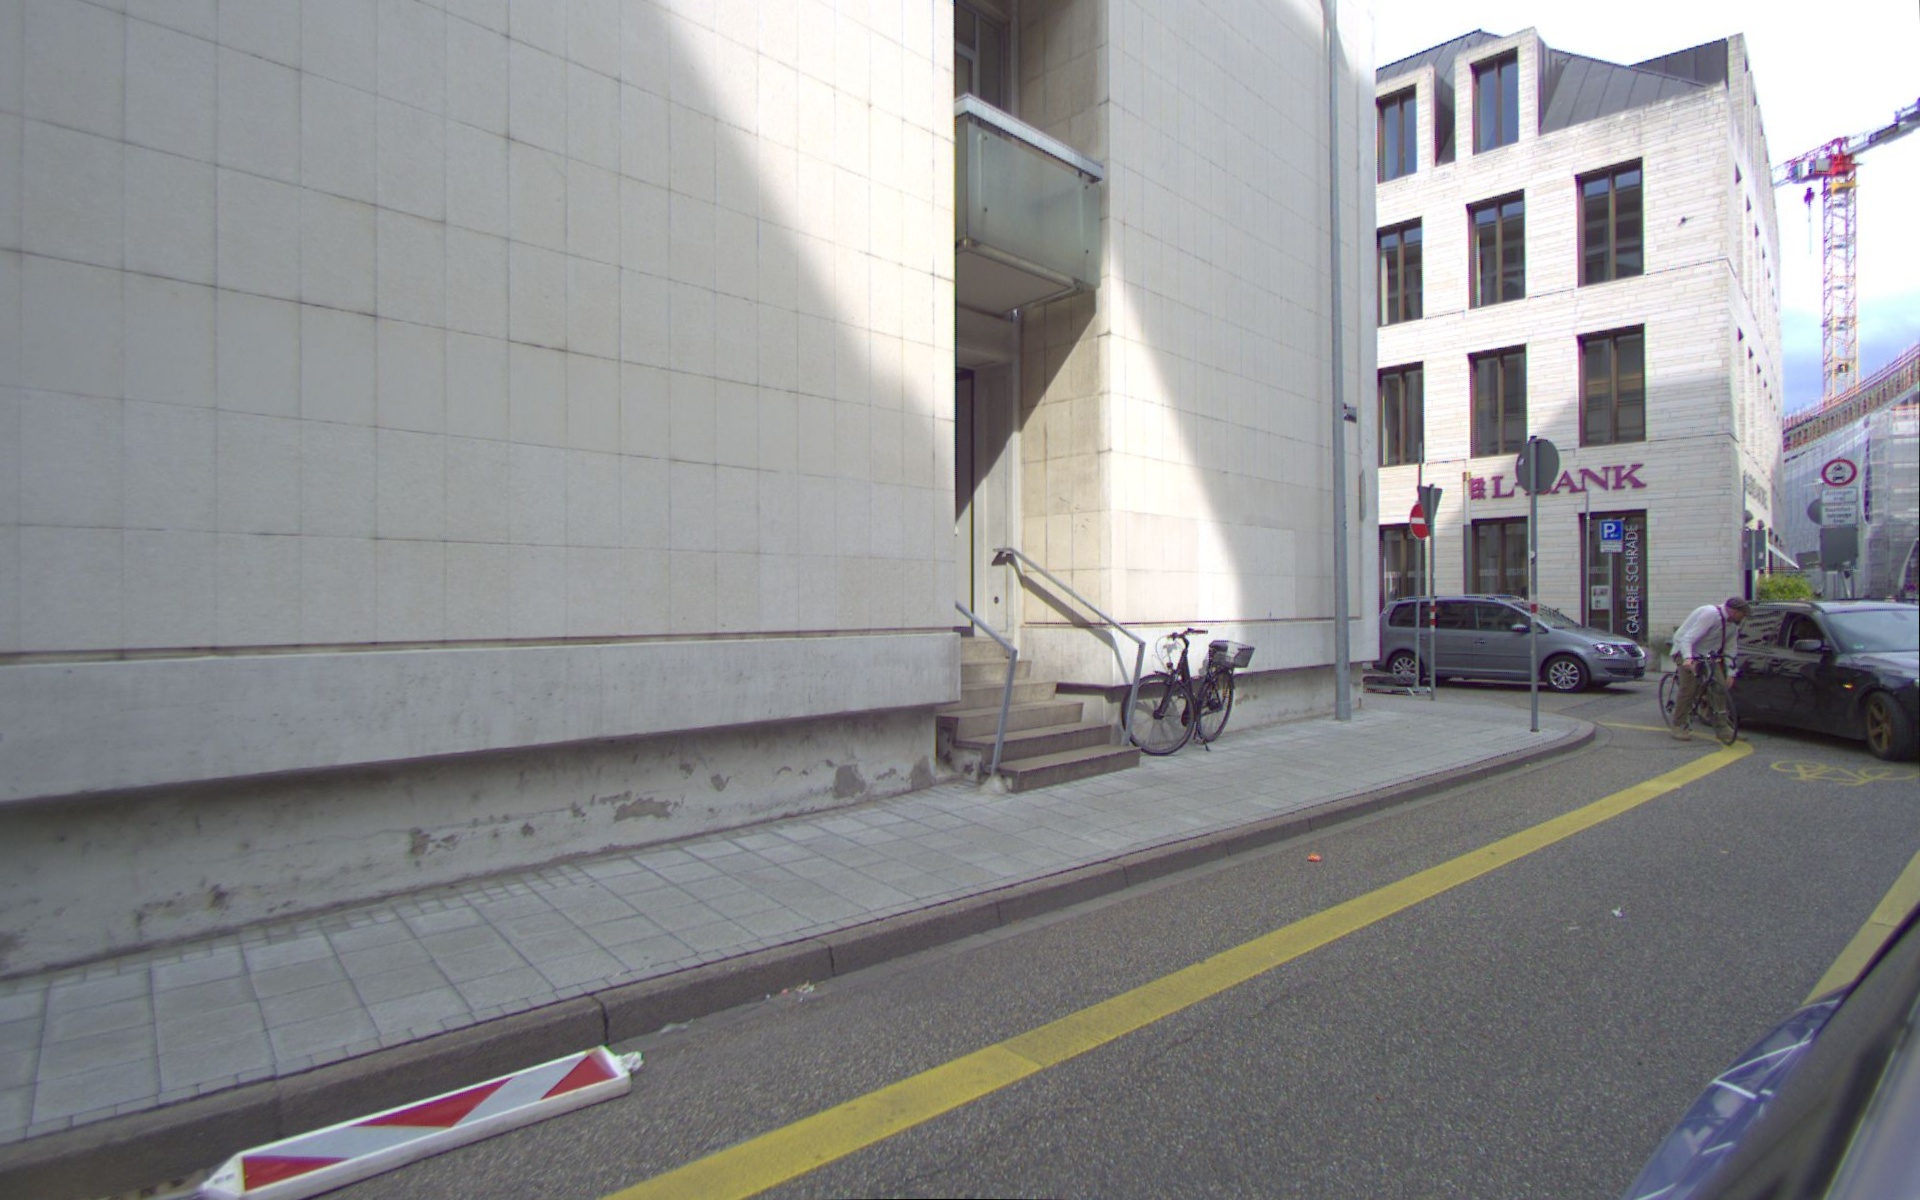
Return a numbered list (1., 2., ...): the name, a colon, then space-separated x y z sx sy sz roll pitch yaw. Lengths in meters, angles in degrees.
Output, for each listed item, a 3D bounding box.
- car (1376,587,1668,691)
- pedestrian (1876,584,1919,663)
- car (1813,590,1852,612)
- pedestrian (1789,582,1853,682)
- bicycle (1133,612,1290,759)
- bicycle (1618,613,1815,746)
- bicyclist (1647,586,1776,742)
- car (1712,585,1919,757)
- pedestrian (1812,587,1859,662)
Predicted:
1. car: 9.807 0.593 17.912 1.784 1.610 4.188 -1 0 -41
2. pedestrian: 22.693 0.546 24.363 0.760 1.854 0.860 0 0 -41
3. car: 61.260 0.060 71.121 1.578 1.505 3.952 0 0 33
4. pedestrian: 16.419 0.586 19.318 0.767 1.854 0.853 0 0 29
5. bicycle: 2.340 0.719 9.282 0.588 1.182 1.786 0 0 44
6. bicycle: 8.206 0.776 11.169 0.860 1.209 2.847 0 0 18
7. bicyclist: 8.128 0.658 10.991 0.881 1.614 0.872 0 0 19
8. car: 9.482 0.613 10.045 1.690 1.509 3.754 -1 0 10
9. pedestrian: 22.138 0.598 25.591 0.858 1.854 0.762 0 0 43
